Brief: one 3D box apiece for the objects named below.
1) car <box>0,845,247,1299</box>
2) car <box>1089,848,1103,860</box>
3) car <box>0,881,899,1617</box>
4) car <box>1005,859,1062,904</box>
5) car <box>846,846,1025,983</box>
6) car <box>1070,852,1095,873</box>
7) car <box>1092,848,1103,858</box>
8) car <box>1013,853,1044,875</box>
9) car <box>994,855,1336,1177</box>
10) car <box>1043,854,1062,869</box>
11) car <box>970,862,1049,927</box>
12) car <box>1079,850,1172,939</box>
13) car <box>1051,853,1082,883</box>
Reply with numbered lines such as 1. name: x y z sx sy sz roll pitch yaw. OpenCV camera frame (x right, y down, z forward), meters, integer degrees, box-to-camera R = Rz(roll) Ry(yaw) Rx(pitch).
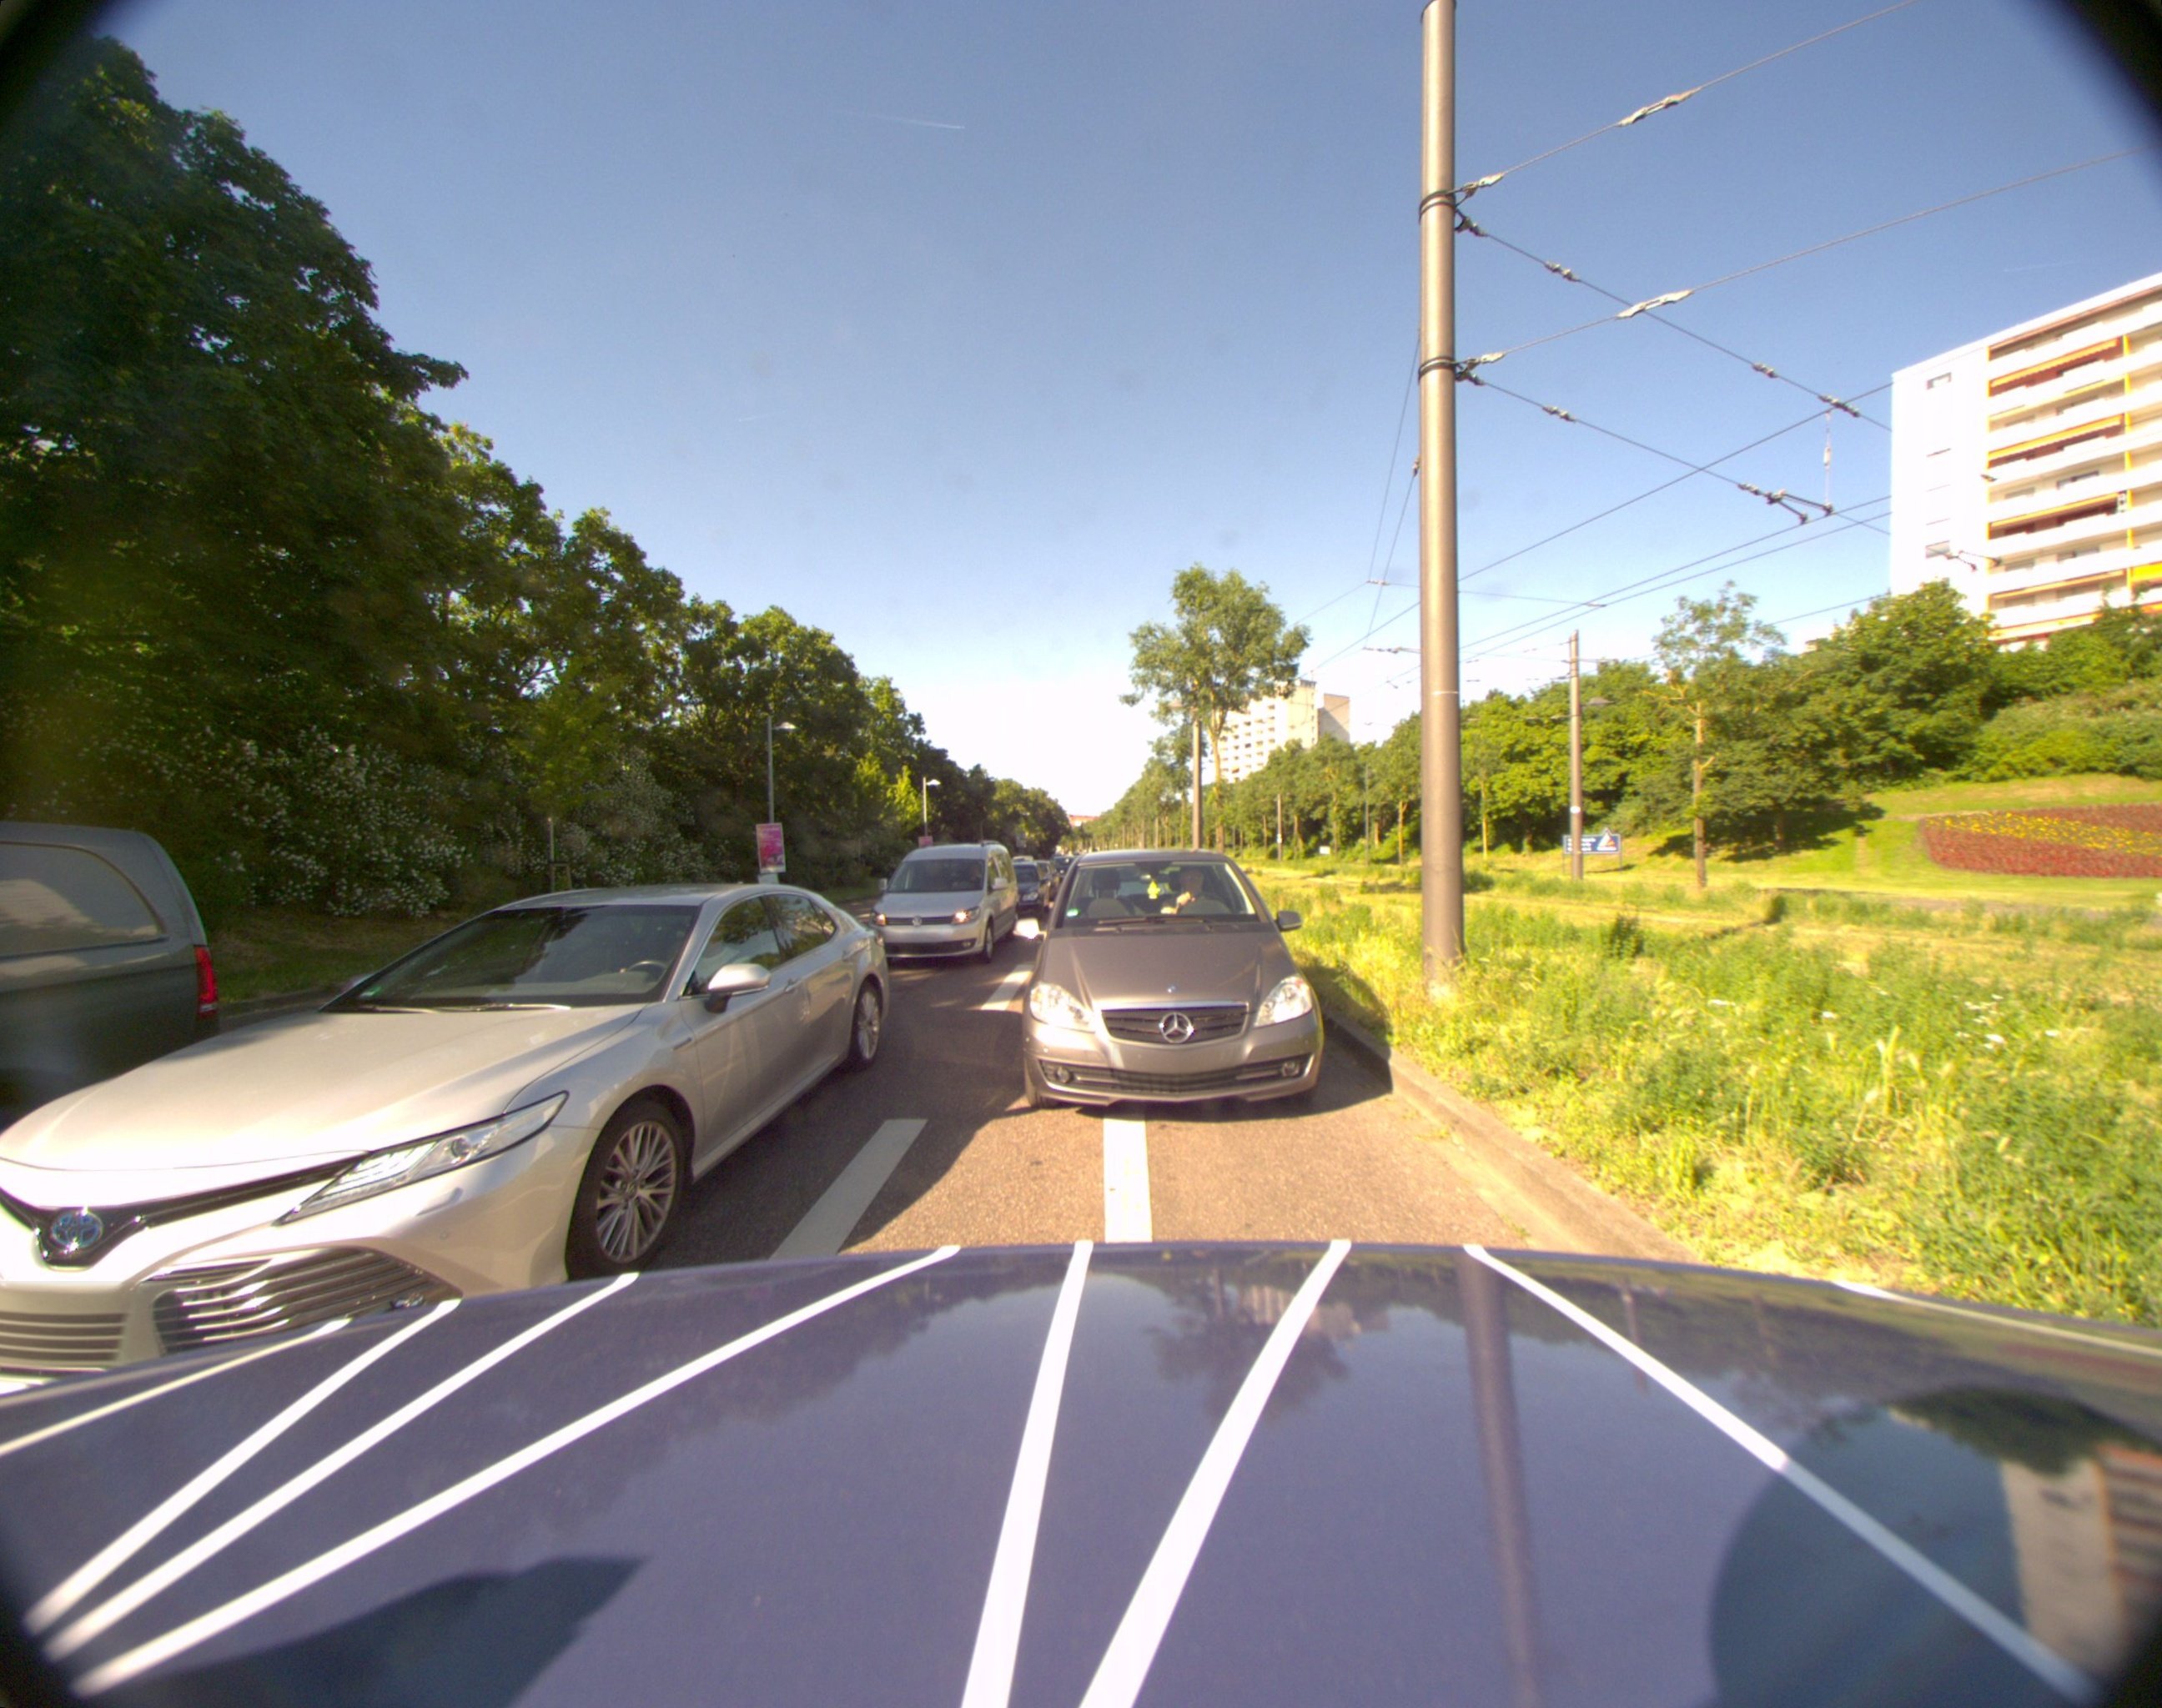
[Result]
1. car: -5.371 0.897 1.429 1.808 1.841 5.104 0 0 3
2. car: 2.036 -0.004 102.399 1.685 1.437 3.727 -2 1 2
3. car: -2.546 1.011 4.081 1.809 1.484 4.682 -2 0 2
4. car: -1.636 0.946 27.351 1.723 1.411 4.050 -1 0 1
5. car: -2.158 0.809 12.624 1.808 1.811 4.587 -2 1 3
6. car: 0.139 0.591 57.287 1.713 1.430 4.171 -2 0 1
7. car: 2.708 -0.193 121.877 1.685 1.437 3.727 -2 1 2
8. car: -3.607 0.674 52.873 1.713 1.430 4.171 -2 0 1
9. car: 0.472 0.861 6.013 1.749 1.630 4.000 -2 0 1
10. car: -2.980 0.790 80.679 1.713 1.430 4.171 -1 0 1
11. car: -1.746 0.972 19.764 1.717 1.445 4.197 -1 0 -1
12. car: 0.887 0.776 16.711 1.749 1.652 3.999 -2 1 1
13. car: -0.769 0.758 42.961 1.621 1.485 3.452 -2 1 0
